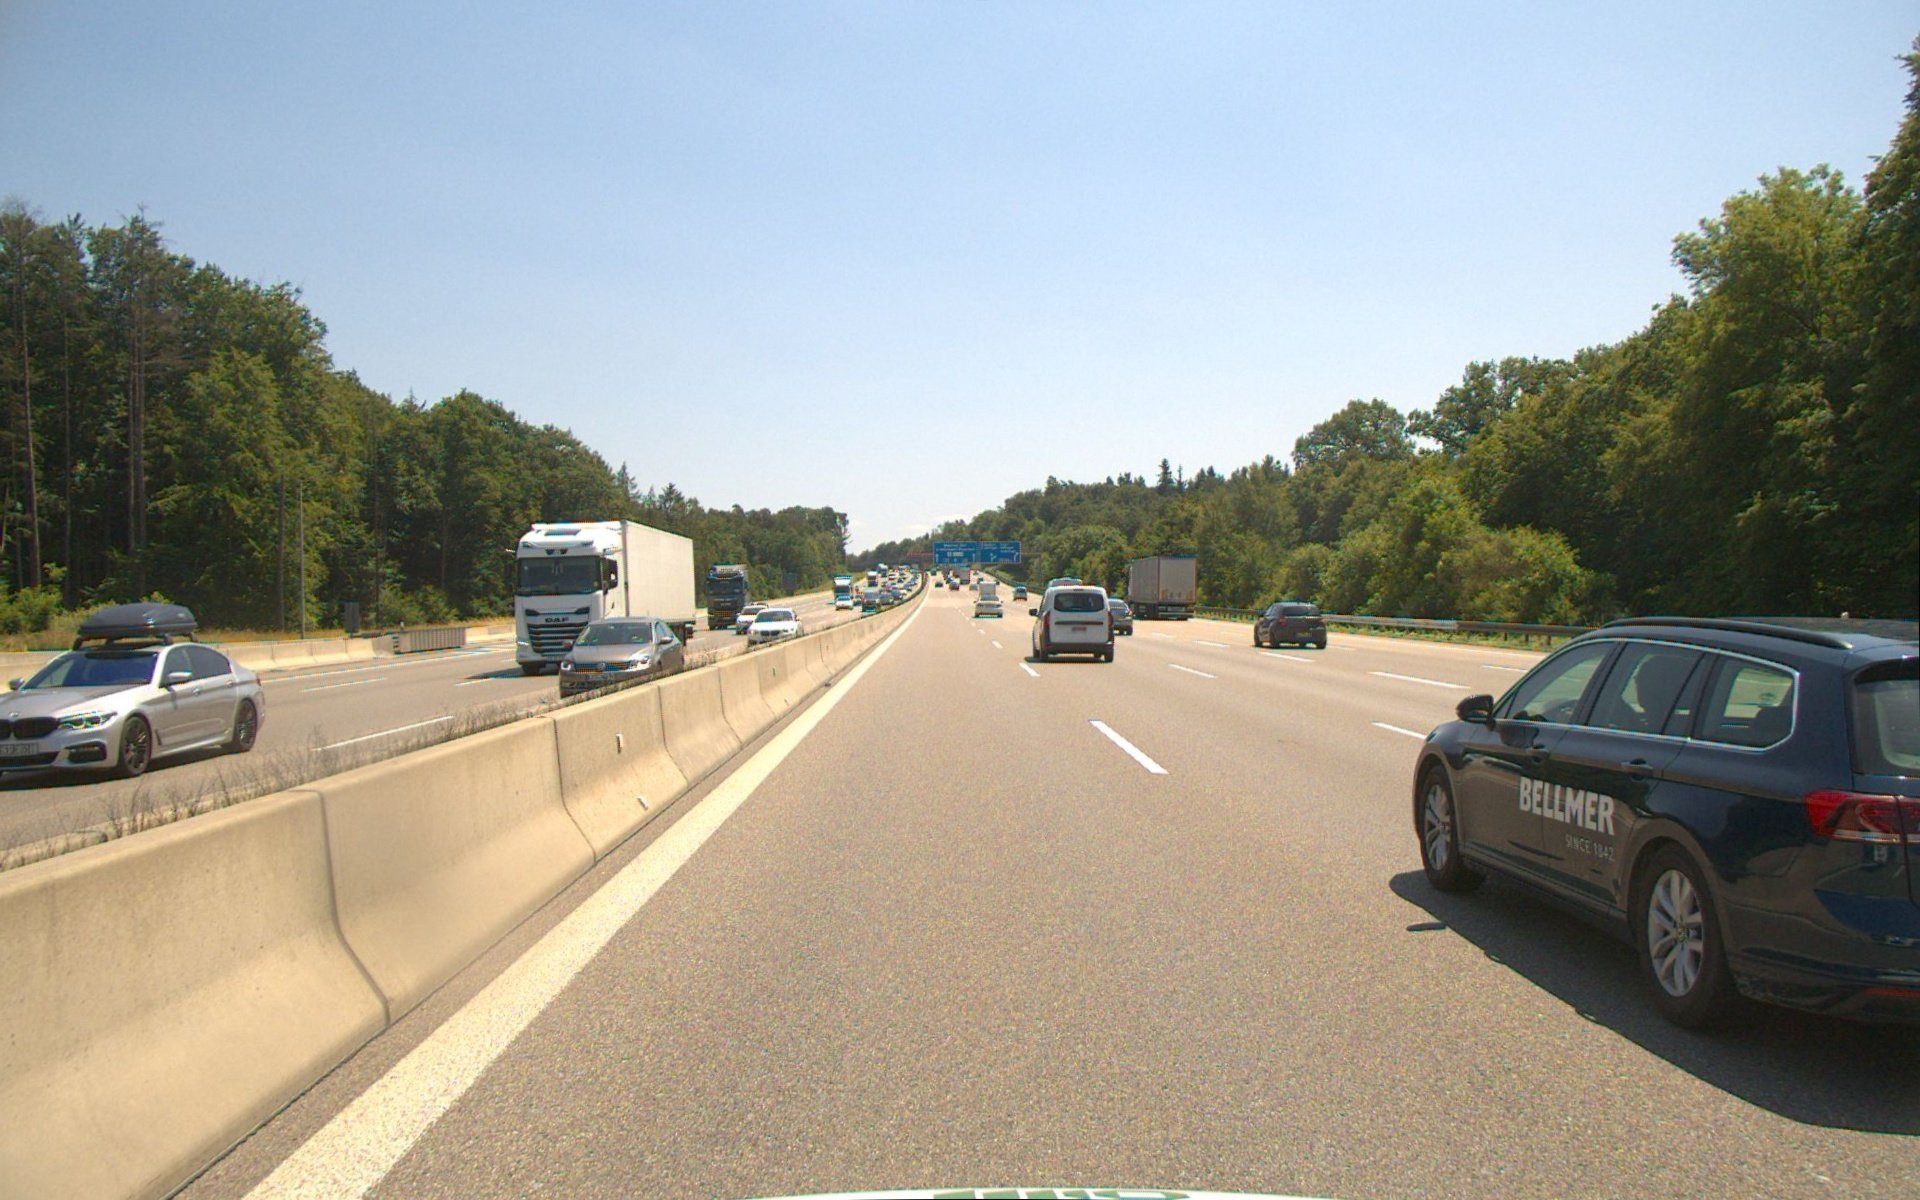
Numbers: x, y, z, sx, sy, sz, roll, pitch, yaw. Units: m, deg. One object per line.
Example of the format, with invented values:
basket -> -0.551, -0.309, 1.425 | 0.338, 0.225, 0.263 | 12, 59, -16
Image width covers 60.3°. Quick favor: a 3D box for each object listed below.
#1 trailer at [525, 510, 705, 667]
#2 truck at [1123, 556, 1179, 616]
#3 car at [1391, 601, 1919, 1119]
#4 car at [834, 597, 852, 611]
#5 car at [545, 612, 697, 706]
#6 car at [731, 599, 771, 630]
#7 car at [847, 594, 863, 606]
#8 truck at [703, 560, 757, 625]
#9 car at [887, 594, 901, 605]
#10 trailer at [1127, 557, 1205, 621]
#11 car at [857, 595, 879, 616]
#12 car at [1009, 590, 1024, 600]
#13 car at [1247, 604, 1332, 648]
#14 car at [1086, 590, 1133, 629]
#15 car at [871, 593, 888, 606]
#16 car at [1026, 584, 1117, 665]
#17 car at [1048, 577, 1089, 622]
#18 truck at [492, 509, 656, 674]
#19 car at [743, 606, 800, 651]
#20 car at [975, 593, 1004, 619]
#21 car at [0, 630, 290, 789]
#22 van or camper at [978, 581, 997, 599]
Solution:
trailer -> -10.770, -0.330, 53.531 | 2.962, 4.299, 14.464 | -2, 0, -1
truck -> 13.659, -1.018, 118.756 | 3.188, 4.178, 5.987 | 1, 1, -1
car -> 3.397, 0.760, 7.280 | 1.694, 1.472, 4.961 | 0, 0, 0
car -> -12.613, 0.438, 178.448 | 1.725, 1.489, 4.838 | -1, 0, -1
car -> -6.211, 1.022, 30.900 | 1.953, 1.513, 5.133 | -1, 0, -2
car -> -11.009, 0.731, 87.374 | 1.688, 1.533, 4.459 | -1, 0, -3
car -> -13.234, 0.030, 208.809 | 1.874, 1.490, 4.586 | -1, -1, -1
truck -> -14.700, -0.480, 106.182 | 2.525, 3.908, 7.015 | -2, 0, -1
car -> -9.308, -0.008, 235.050 | 1.874, 1.490, 4.362 | -1, -1, -1
trailer -> 13.810, -0.825, 112.225 | 3.221, 3.999, 13.887 | 1, 1, -1
car -> -8.991, 0.536, 162.241 | 1.859, 1.988, 5.655 | -2, 0, -1
car -> 7.706, -0.700, 225.032 | 1.798, 1.361, 3.642 | -2, 0, -1
car -> 10.422, 0.802, 52.532 | 1.637, 1.296, 4.287 | 1, 0, -3
car -> 6.108, 0.390, 67.821 | 1.473, 1.527, 3.648 | -2, -1, -1
car -> -9.554, -0.085, 196.933 | 1.874, 1.490, 4.586 | -1, -1, -1
car -> 2.717, 0.574, 41.172 | 1.822, 1.857, 4.611 | -1, 0, -1
car -> 6.652, -0.064, 102.145 | 2.100, 2.698, 5.709 | 0, 1, -1
truck -> -10.674, -0.219, 46.495 | 2.985, 4.209, 6.947 | -2, 0, -1
car -> -6.646, 0.986, 58.737 | 1.712, 1.483, 4.154 | -1, 0, -3
car -> 1.964, 0.420, 112.219 | 1.805, 1.657, 4.553 | -2, 0, 0
car -> -10.033, 1.221, 19.990 | 1.954, 1.513, 5.016 | -3, 0, -2
van or camper -> 4.030, -1.422, 241.476 | 2.591, 2.583, 6.501 | -1, 0, -1
